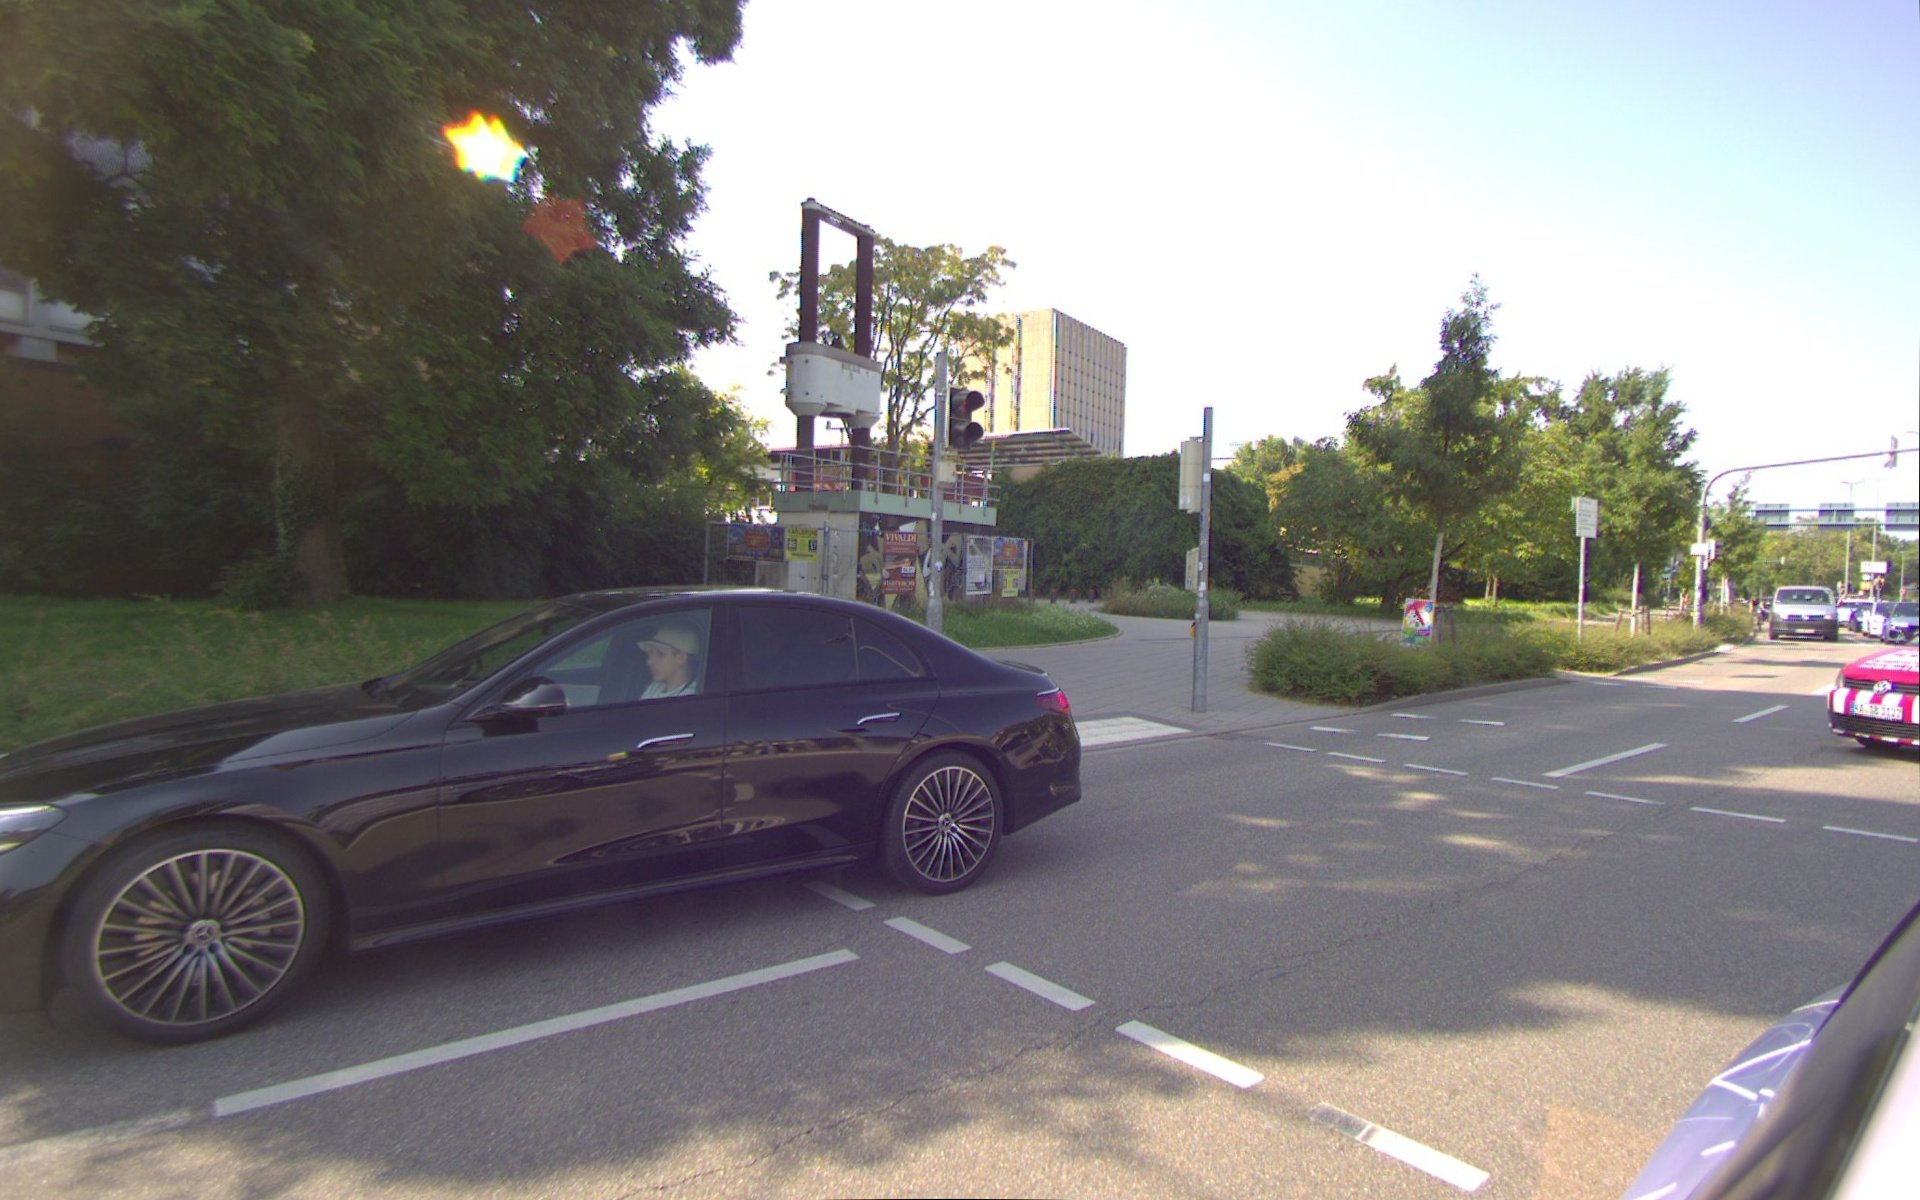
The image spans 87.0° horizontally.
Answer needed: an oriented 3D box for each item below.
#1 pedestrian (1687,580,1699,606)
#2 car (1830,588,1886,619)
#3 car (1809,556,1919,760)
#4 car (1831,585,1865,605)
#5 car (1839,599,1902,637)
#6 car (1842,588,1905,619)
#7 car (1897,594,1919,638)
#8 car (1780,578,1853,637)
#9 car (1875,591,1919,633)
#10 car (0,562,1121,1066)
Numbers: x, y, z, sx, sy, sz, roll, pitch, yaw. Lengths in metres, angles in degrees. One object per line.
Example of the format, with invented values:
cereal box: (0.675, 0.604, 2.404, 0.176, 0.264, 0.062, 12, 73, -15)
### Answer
pedestrian: (53.050, -0.488, 73.221, 0.620, 1.868, 0.633, 2, 2, 37)
car: (52.072, 0.177, 58.753, 1.921, 1.680, 4.241, 3, 2, 35)
car: (10.732, 0.539, 9.461, 4.193, 1.842, 1.739, 1, 1, -3)
car: (98.728, -0.561, 112.517, 1.903, 2.039, 3.959, 3, 0, 29)
car: (41.608, 0.784, 46.316, 1.993, 1.524, 4.368, 3, 2, 41)
car: (48.438, 0.137, 53.756, 1.921, 1.524, 4.241, 3, 2, 35)
car: (32.984, 0.537, 34.108, 1.904, 1.418, 4.846, 3, 2, 41)
car: (30.730, 0.225, 36.282, 1.840, 1.898, 4.899, 3, 2, 41)
car: (37.341, 0.450, 39.733, 1.993, 1.524, 4.368, 3, 2, 41)
car: (-1.605, 0.598, 4.859, 4.781, 1.458, 1.826, 0, 1, -35)
